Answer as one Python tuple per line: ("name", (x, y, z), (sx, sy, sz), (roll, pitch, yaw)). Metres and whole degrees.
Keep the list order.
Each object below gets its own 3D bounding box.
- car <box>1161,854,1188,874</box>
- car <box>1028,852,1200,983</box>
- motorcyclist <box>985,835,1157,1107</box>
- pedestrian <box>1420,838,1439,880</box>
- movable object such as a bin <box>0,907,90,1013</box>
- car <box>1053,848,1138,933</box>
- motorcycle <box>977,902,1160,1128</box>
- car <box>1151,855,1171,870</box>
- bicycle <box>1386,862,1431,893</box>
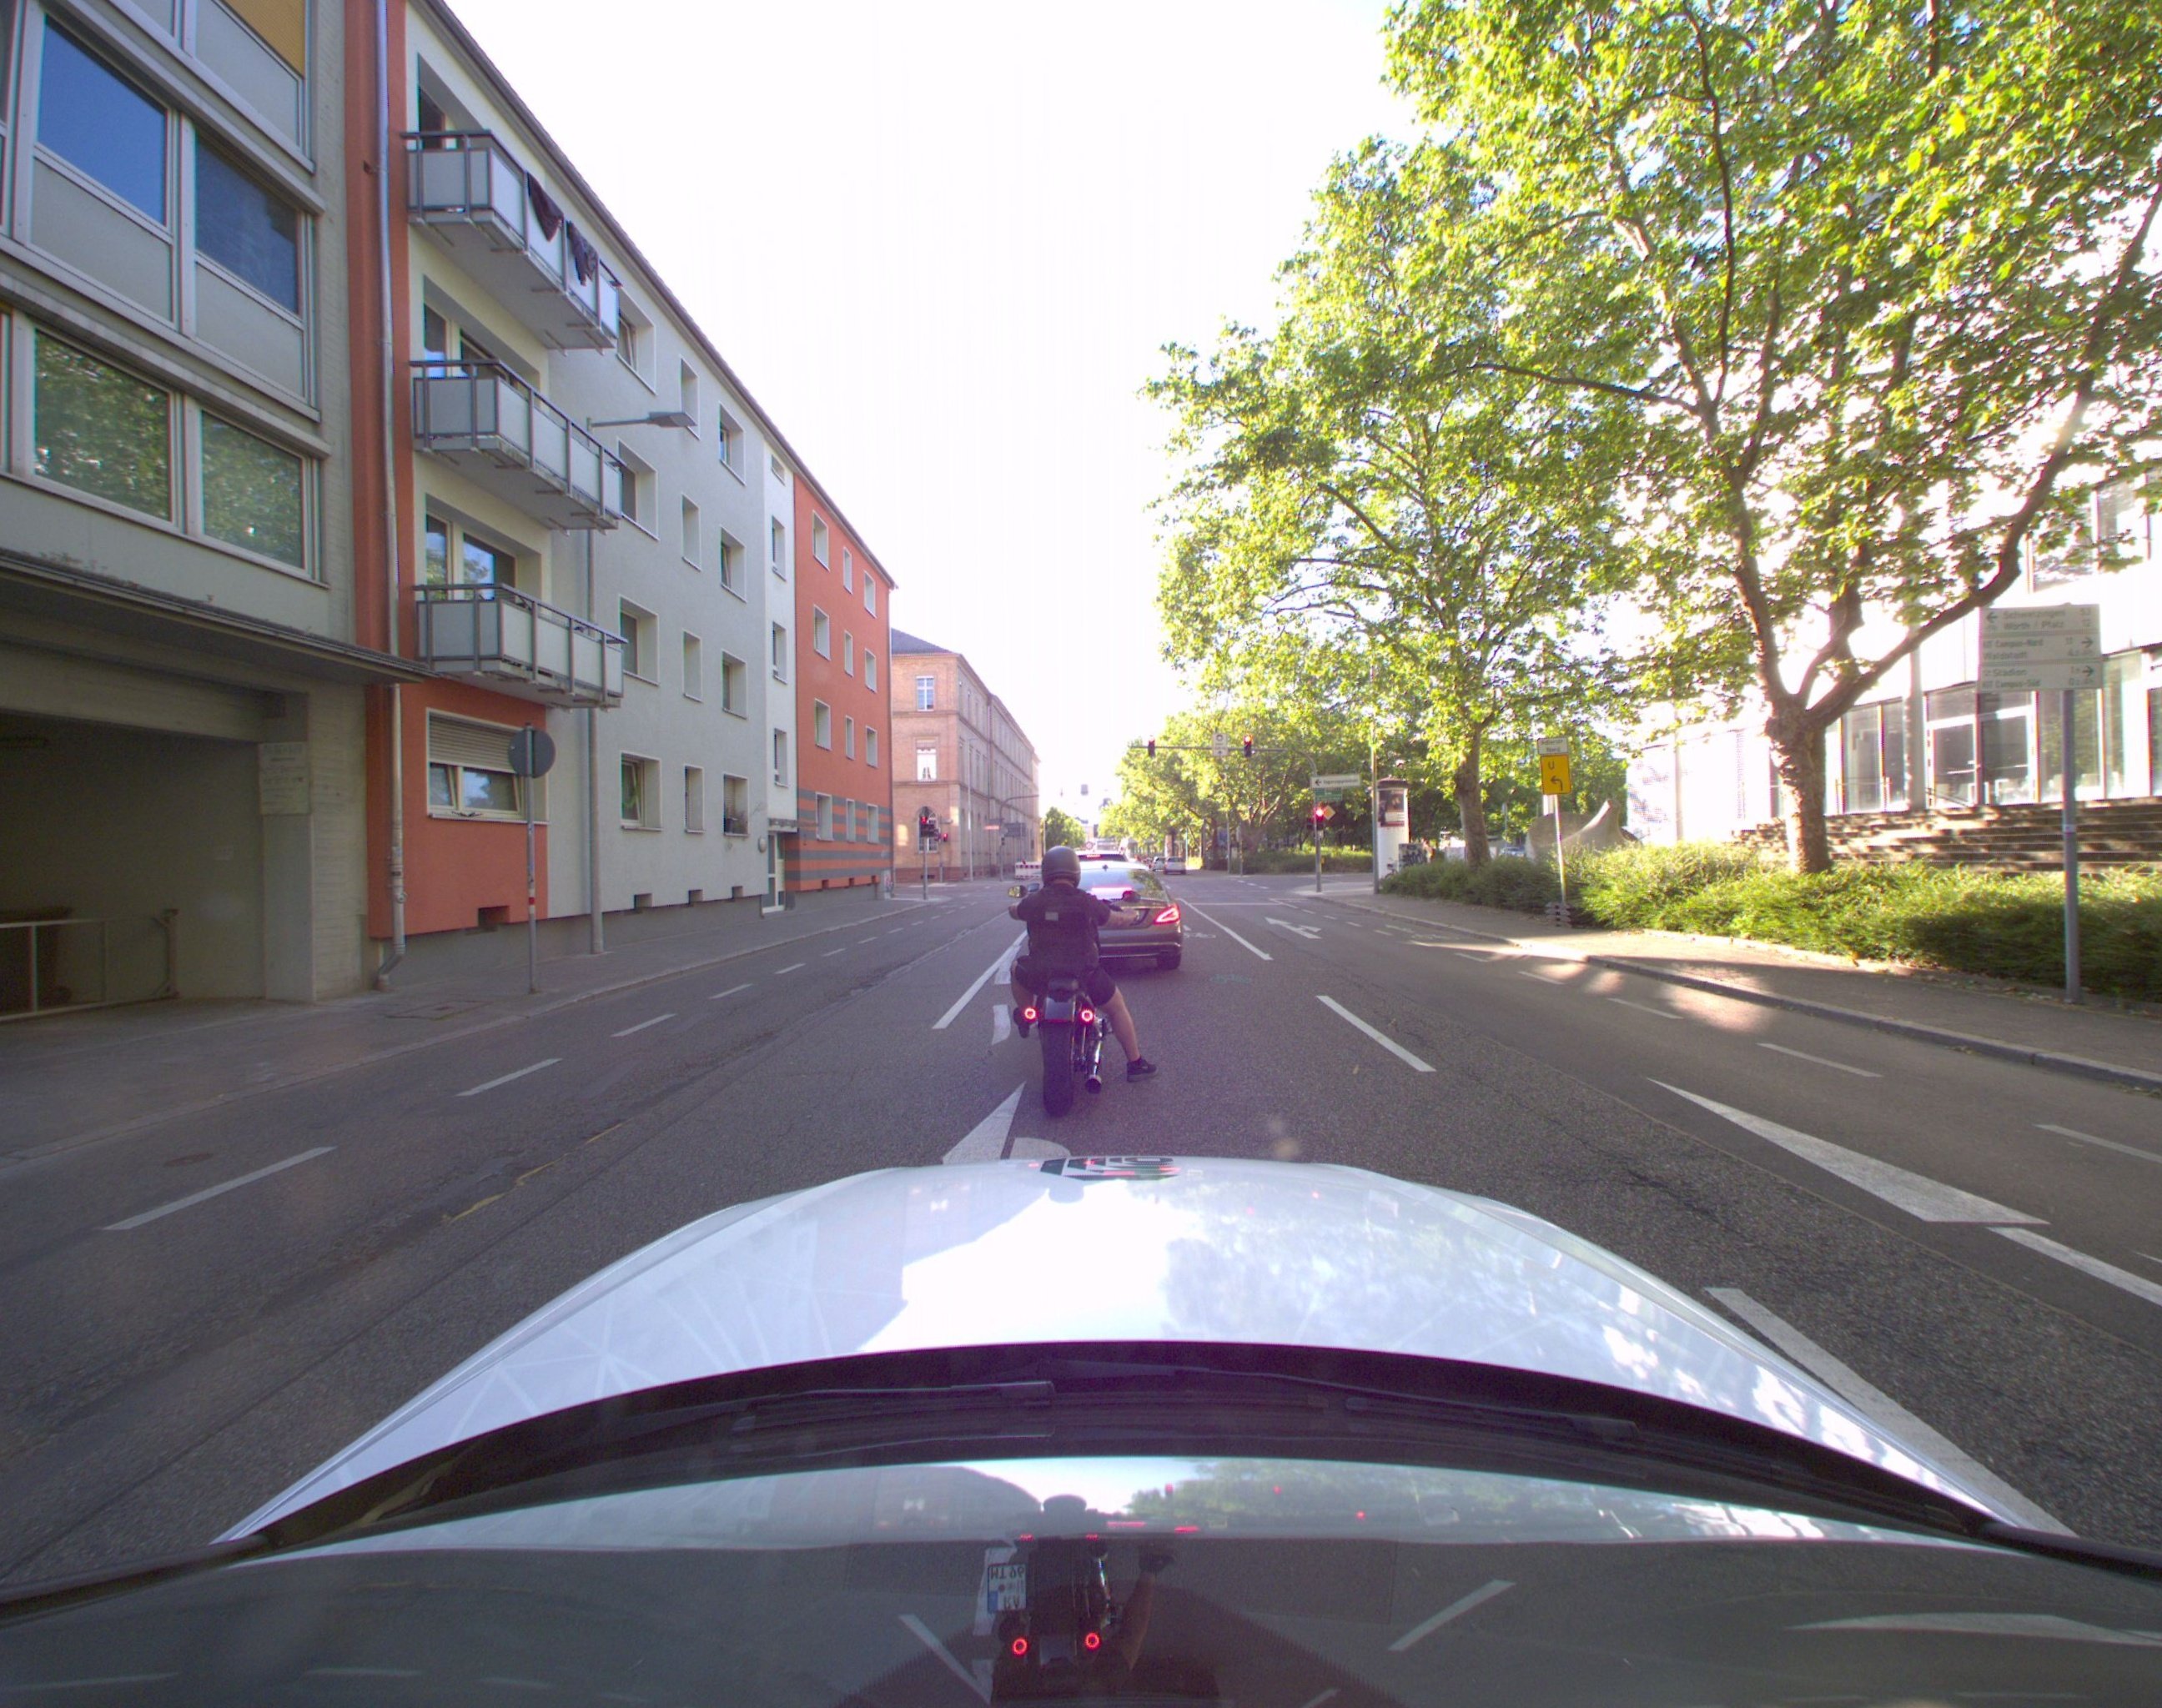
("car", (7.428, 0.755, 65.052), (1.814, 1.481, 3.911), (-3, 0, 3))
("car", (0.255, 0.741, 11.736), (1.943, 1.473, 4.355), (-1, 0, -5))
("motorcyclist", (-0.038, 0.698, 5.544), (0.986, 1.597, 1.404), (-1, 0, 2))
("pedestrian", (15.443, 0.210, 36.104), (0.549, 1.849, 0.594), (-1, 0, 3))
("movable object such as a bin", (-11.318, 1.112, 8.699), (0.593, 1.041, 0.703), (0, -1, 1))
("car", (0.319, 0.705, 17.906), (1.606, 1.607, 4.329), (-1, 0, 1))
("motorcycle", (-0.029, 0.957, 5.697), (0.986, 1.078, 2.453), (-1, 0, 2))
("car", (7.908, 0.814, 80.451), (1.848, 1.486, 3.912), (0, -1, 3))
("bicycle", (11.042, 0.792, 27.501), (1.346, 1.023, 0.363), (-1, 0, 2))
